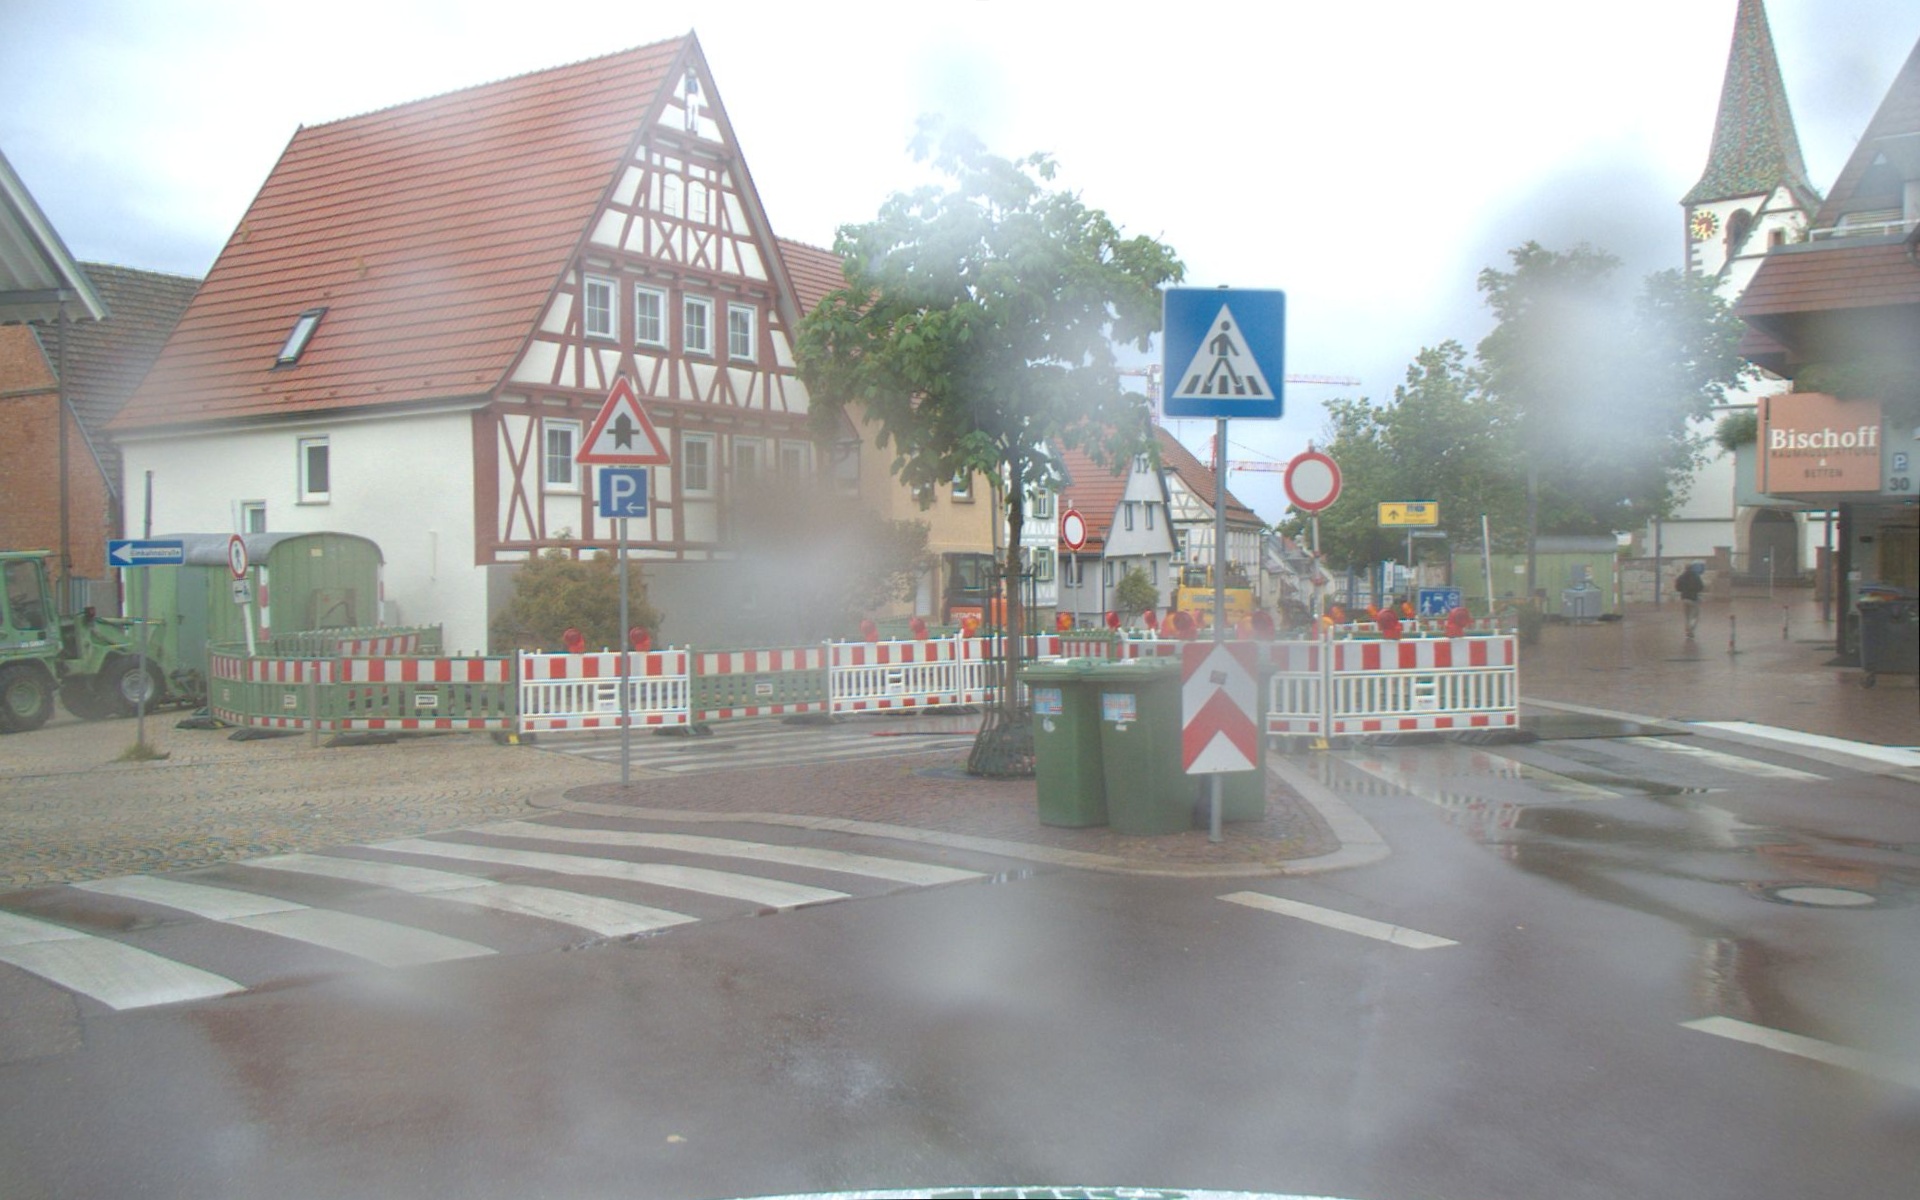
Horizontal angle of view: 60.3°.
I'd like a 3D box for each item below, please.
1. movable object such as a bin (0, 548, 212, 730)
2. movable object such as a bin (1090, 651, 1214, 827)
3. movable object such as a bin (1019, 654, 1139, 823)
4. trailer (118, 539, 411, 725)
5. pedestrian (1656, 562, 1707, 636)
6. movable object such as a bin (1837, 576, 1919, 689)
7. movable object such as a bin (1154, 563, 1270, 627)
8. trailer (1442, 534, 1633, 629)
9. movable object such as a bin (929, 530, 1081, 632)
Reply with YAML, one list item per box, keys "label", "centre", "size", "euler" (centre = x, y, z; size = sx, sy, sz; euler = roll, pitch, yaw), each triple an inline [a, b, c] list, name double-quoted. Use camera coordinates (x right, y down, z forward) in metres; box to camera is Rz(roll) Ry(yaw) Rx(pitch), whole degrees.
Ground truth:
- label: "movable object such as a bin"
  centre: [-13.949, 0.568, 25.234]
  size: [1.869, 2.599, 4.284]
  euler: [-3, 0, 29]
- label: "movable object such as a bin"
  centre: [1.192, 0.847, 10.289]
  size: [0.529, 1.051, 0.537]
  euler: [1, -3, -40]
- label: "movable object such as a bin"
  centre: [0.774, 0.887, 10.799]
  size: [0.567, 1.055, 0.534]
  euler: [1, -3, -40]
- label: "trailer"
  centre: [-11.815, 0.484, 28.063]
  size: [4.535, 2.886, 2.485]
  euler: [1, 0, 33]
- label: "pedestrian"
  centre: [17.667, -0.025, 40.508]
  size: [0.969, 1.789, 0.852]
  euler: [1, 0, 11]
- label: "movable object such as a bin"
  centre: [13.243, 0.455, 23.698]
  size: [1.044, 1.539, 1.242]
  euler: [-3, -1, 24]
- label: "movable object such as a bin"
  centre: [8.512, -0.169, 55.532]
  size: [3.331, 2.049, 3.480]
  euler: [1, 0, 18]
- label: "trailer"
  centre: [18.780, -0.615, 54.041]
  size: [5.657, 2.999, 2.002]
  euler: [1, 0, 12]
- label: "movable object such as a bin"
  centre: [1.052, -0.373, 36.290]
  size: [1.867, 2.049, 3.997]
  euler: [-2, -1, 25]
